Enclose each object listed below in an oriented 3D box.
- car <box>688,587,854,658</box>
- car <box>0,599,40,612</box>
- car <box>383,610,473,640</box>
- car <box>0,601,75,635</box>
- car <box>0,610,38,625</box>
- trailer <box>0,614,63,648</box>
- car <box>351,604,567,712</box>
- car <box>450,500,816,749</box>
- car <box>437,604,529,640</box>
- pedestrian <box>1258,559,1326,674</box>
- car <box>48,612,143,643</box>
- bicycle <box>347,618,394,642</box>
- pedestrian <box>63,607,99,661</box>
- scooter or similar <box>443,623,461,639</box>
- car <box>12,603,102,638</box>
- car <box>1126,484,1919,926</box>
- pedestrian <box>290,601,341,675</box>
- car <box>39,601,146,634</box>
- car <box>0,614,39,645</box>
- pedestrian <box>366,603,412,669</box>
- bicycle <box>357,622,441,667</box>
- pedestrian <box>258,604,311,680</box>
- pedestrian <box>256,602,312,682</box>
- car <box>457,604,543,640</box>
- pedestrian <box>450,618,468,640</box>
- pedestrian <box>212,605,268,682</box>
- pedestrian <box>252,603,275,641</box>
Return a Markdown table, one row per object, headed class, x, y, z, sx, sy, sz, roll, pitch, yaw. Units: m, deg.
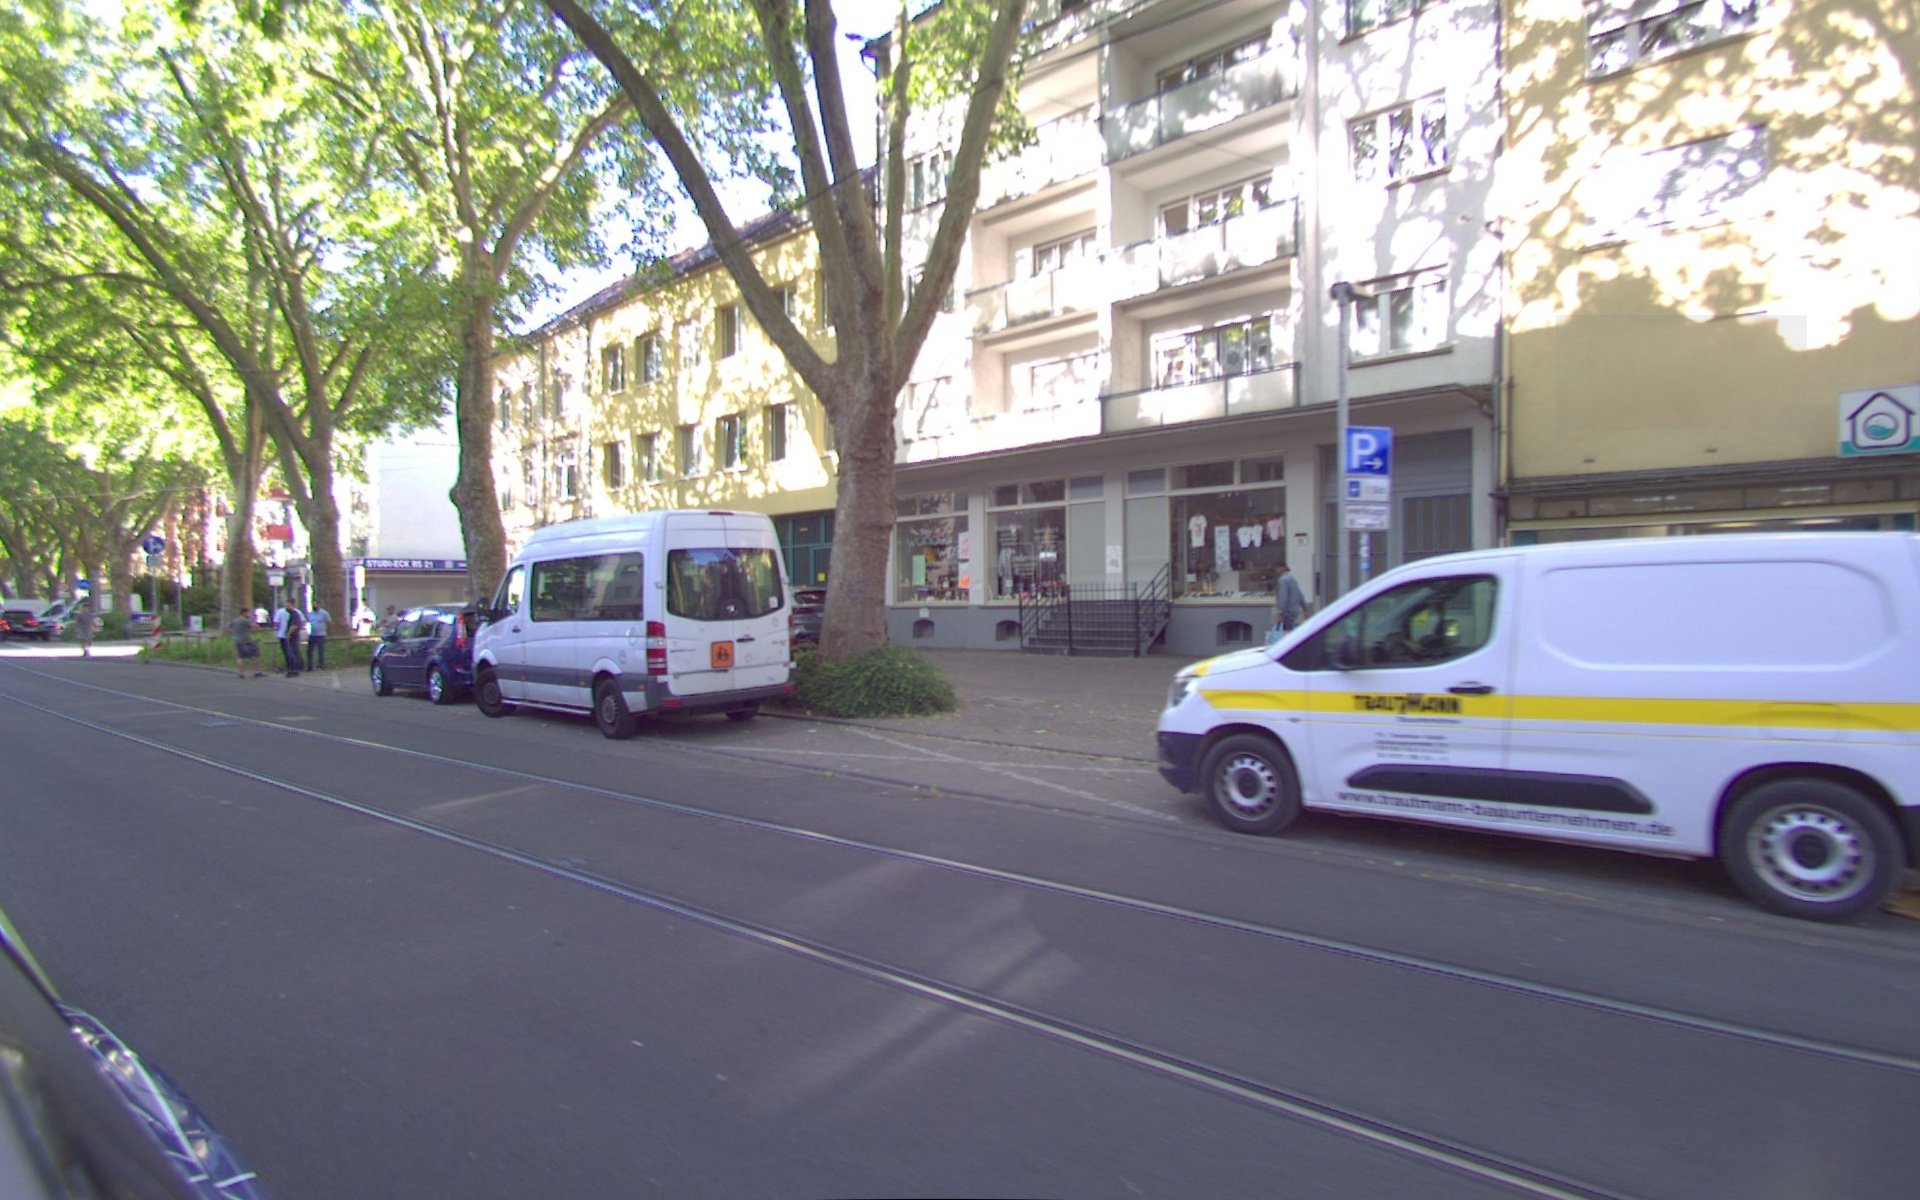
| class | x | y | z | sx | sy | sz | roll | pitch | yaw |
| --- | --- | --- | --- | --- | --- | --- | --- | --- | --- |
| car | -5.255 | 0.570 | 27.713 | 4.899 | 1.746 | 1.972 | 0 | 1 | 44 |
| car | -109.406 | 0.621 | 117.317 | 1.999 | 1.478 | 3.946 | 0 | 1 | 41 |
| car | -30.027 | 1.379 | 57.173 | 1.834 | 1.489 | 4.098 | 0 | 1 | 42 |
| car | -75.164 | 1.446 | 82.268 | 2.000 | 2.552 | 4.599 | -1 | 1 | 43 |
| car | -97.233 | 1.812 | 103.659 | 1.999 | 1.478 | 3.946 | 0 | 1 | 41 |
| trailer | -49.679 | 1.610 | 53.559 | 6.581 | 1.644 | 2.421 | 0 | -2 | 41 |
| car | -8.714 | 0.891 | 17.443 | 4.283 | 1.573 | 1.896 | 0 | 1 | 42 |
| car | -4.592 | 0.245 | 13.435 | 2.084 | 2.596 | 6.027 | -2 | 1 | -45 |
| car | -25.135 | 1.129 | 53.448 | 1.799 | 1.650 | 3.959 | -6 | -3 | 42 |
| pedestrian | 5.654 | 0.267 | 17.243 | 0.863 | 1.883 | 0.736 | -1 | 1 | 41 |
| car | -50.313 | 1.578 | 58.949 | 1.908 | 1.622 | 3.946 | -2 | 0 | 41 |
| bicycle | -28.711 | 1.439 | 49.322 | 0.655 | 1.070 | 1.846 | -1 | 1 | 35 |
| pedestrian | -30.023 | 1.157 | 34.582 | 0.799 | 1.805 | 0.693 | -1 | 1 | 30 |
| scooter or similar | -25.099 | 1.533 | 49.988 | 0.896 | 0.759 | 0.522 | 0 | 1 | 41 |
| car | -64.457 | 1.423 | 72.311 | 2.000 | 2.323 | 4.599 | 0 | 1 | 43 |
| car | 3.319 | 0.434 | 6.067 | 4.316 | 1.864 | 1.745 | 0 | 1 | 41 |
| pedestrian | -15.747 | 0.922 | 24.733 | 0.759 | 1.748 | 0.718 | -1 | 0 | -3 |
| car | -57.398 | 1.140 | 67.065 | 1.997 | 2.010 | 5.071 | -1 | 1 | 38 |
| car | -53.785 | 1.635 | 57.287 | 4.180 | 1.696 | 1.903 | 0 | -2 | 41 |
| pedestrian | -14.398 | 0.899 | 25.524 | 0.759 | 1.622 | 0.715 | -1 | 1 | -6 |
| bicycle | -14.570 | 1.143 | 26.341 | 1.820 | 1.088 | 0.571 | -1 | 1 | -20 |
| pedestrian | -15.944 | 0.983 | 23.905 | 0.759 | 1.748 | 0.715 | -1 | 1 | -6 |
| pedestrian | -15.524 | 0.952 | 23.254 | 0.763 | 1.790 | 0.711 | -1 | 1 | 12 |
| car | -19.228 | 0.880 | 42.265 | 3.998 | 1.398 | 1.761 | 0 | 1 | 41 |
| pedestrian | -23.793 | 1.384 | 48.102 | 0.540 | 1.048 | 0.541 | -1 | 1 | 10 |
| pedestrian | -16.775 | 1.002 | 23.585 | 0.704 | 1.748 | 0.770 | -1 | 1 | 2 |
| pedestrian | -33.917 | 1.070 | 49.286 | 0.668 | 1.793 | 0.716 | 0 | 1 | 33 |
